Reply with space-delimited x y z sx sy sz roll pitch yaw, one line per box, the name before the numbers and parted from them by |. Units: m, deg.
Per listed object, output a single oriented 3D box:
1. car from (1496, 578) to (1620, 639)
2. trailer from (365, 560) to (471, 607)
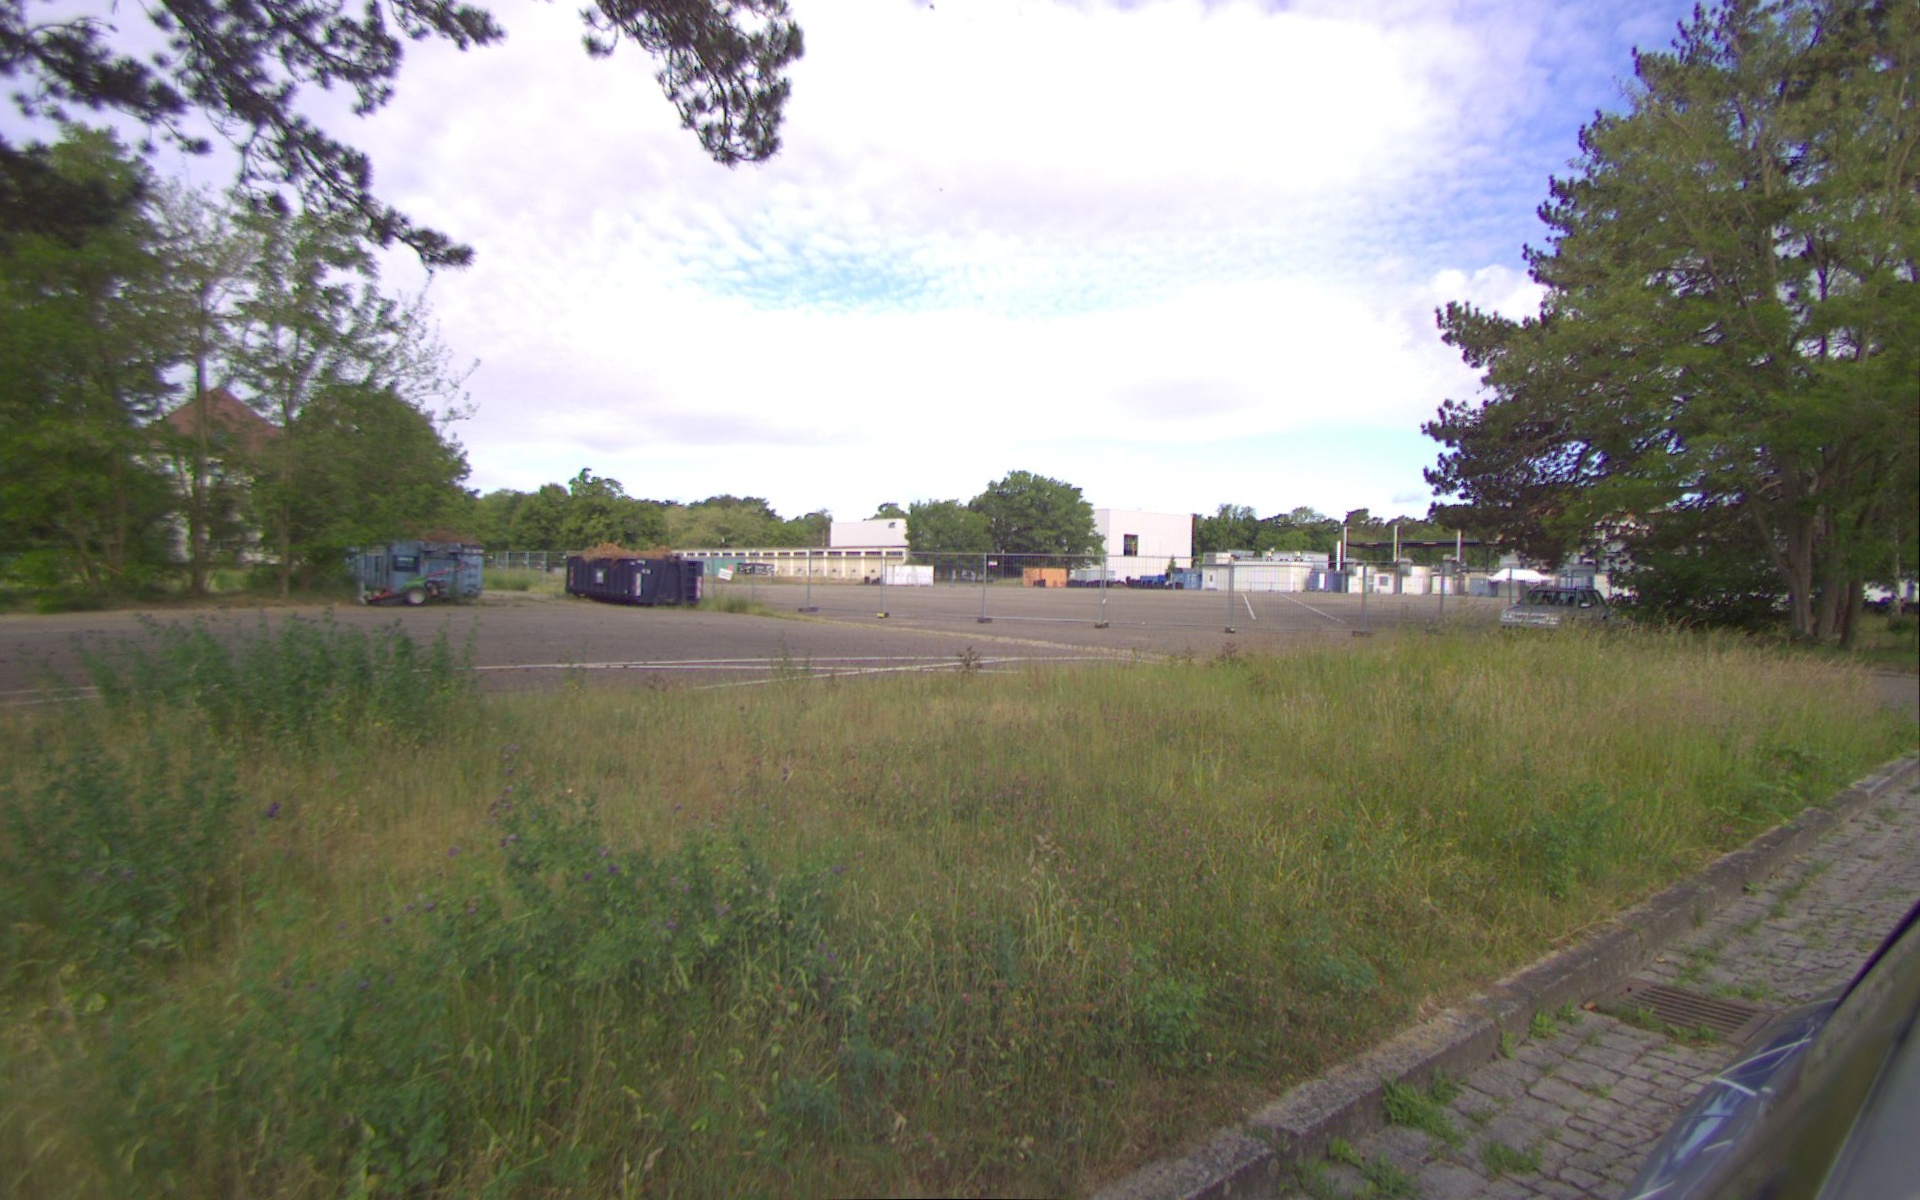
car | 16.254 0.172 27.416 4.082 1.492 1.860 -1 3 -44
trailer | -14.347 -0.431 26.803 2.279 1.185 1.142 1 0 -41
